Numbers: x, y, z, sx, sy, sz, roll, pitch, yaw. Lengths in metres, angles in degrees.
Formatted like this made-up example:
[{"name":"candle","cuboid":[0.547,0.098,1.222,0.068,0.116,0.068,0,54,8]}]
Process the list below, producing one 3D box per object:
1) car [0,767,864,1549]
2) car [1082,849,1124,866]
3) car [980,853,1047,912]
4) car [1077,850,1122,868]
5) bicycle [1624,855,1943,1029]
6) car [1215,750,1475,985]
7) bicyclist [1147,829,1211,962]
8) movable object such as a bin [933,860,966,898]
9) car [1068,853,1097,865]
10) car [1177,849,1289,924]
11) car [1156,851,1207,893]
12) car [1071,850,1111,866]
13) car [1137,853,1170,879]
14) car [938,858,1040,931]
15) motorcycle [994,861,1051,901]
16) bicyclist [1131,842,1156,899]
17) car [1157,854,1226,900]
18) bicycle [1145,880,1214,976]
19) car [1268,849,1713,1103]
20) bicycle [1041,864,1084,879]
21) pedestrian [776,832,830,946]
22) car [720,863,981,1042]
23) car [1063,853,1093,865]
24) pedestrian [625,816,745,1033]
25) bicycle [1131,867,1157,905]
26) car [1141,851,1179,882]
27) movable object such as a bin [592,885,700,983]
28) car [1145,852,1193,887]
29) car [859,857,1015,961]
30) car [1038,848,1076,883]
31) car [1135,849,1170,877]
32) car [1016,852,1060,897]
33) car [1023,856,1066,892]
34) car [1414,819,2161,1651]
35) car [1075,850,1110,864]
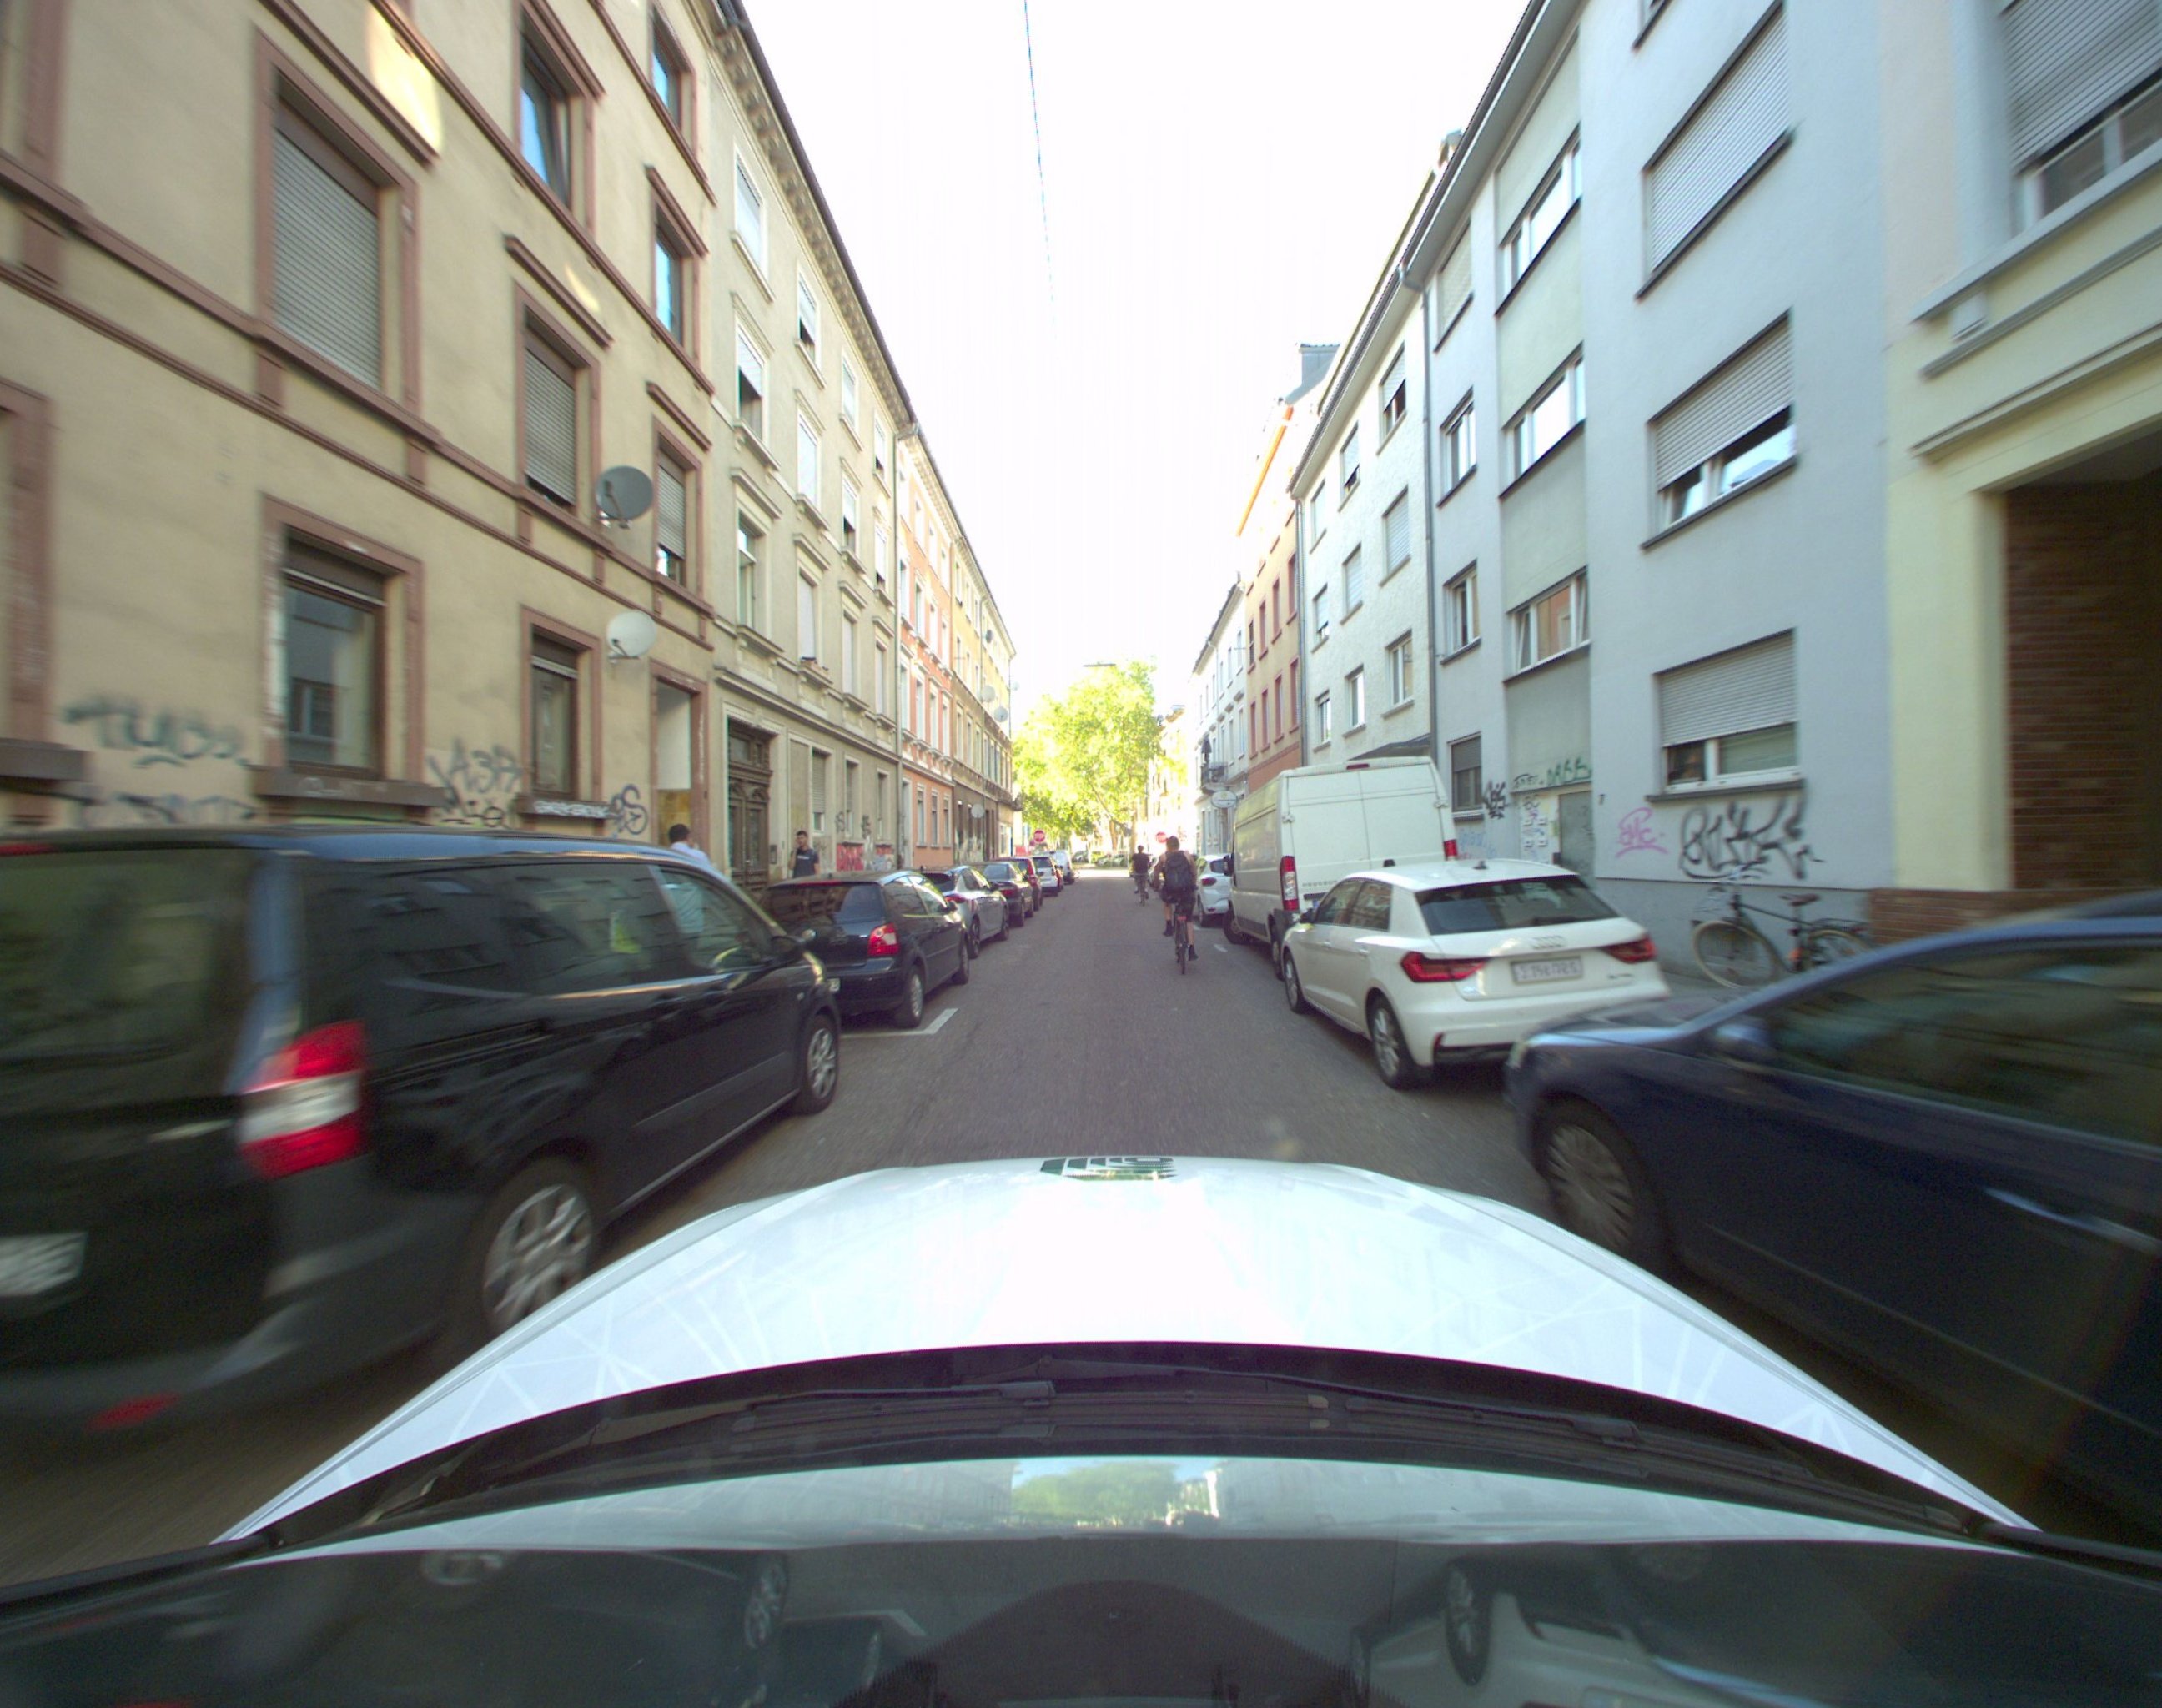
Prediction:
[{"name":"car","cuboid":[-2.545,0.712,3.824,1.794,1.698,4.001,-4,0,1]},{"name":"car","cuboid":[2.356,0.400,88.042,4.459,1.696,1.864,-2,0,-3]},{"name":"car","cuboid":[-1.898,0.775,23.796,1.600,1.530,3.378,-3,0,0]},{"name":"car","cuboid":[1.831,0.498,82.661,4.459,1.759,1.864,-2,0,-3]},{"name":"bicycle","cuboid":[5.671,0.614,6.841,0.625,1.158,2.353,-5,0,2]},{"name":"car","cuboid":[3.427,0.149,12.090,2.195,2.550,6.042,-2,0,4]},{"name":"bicyclist","cuboid":[1.289,0.522,10.892,0.737,1.679,1.117,0,0,1]},{"name":"movable object such as a bin","cuboid":[-4.267,0.797,26.470,0.831,1.126,0.716,-6,0,4]},{"name":"car","cuboid":[0.221,0.749,130.218,4.459,1.696,1.864,-2,0,-3]},{"name":"car","cuboid":[3.334,0.661,18.646,1.726,1.470,4.019,-2,0,-1]},{"name":"car","cuboid":[3.816,0.656,31.441,1.586,1.492,3.878,-2,0,2]},{"name":"car","cuboid":[1.136,0.409,94.406,4.459,1.696,1.864,-2,0,-3]},{"name":"car","cuboid":[4.361,0.686,49.580,1.681,1.471,3.574,-2,0,0]},{"name":"car","cuboid":[-1.986,0.838,18.835,1.700,1.414,4.304,-2,0,2]},{"name":"motorcycle","cuboid":[-1.981,0.888,27.424,1.797,1.256,0.707,-2,0,-13]},{"name":"bicyclist","cuboid":[1.861,0.490,24.456,0.667,1.658,0.877,-2,0,1]},{"name":"car","cuboid":[3.493,0.683,26.353,1.652,1.338,3.999,-2,0,0]},{"name":"bicycle","cuboid":[1.284,0.944,10.997,0.737,1.100,2.042,0,0,1]},{"name":"car","cuboid":[2.834,0.710,6.676,1.719,1.429,3.832,-2,0,0]},{"name":"bicycle","cuboid":[-1.197,1.144,52.873,2.708,0.892,0.618,-2,0,-2]},{"name":"pedestrian","cuboid":[-4.663,0.577,13.704,0.608,1.858,0.754,1,0,1]},{"name":"car","cuboid":[-2.202,0.862,8.798,1.585,1.440,3.656,-2,0,2]},{"name":"car","cuboid":[-0.422,0.773,123.489,4.459,1.696,1.864,-2,0,-3]},{"name":"pedestrian","cuboid":[-3.488,0.592,7.234,0.648,1.817,0.754,1,0,2]},{"name":"bicycle","cuboid":[1.883,0.948,24.503,0.661,1.037,1.959,-2,0,2]},{"name":"car","cuboid":[4.233,0.642,44.005,1.647,1.530,3.574,-2,0,0]},{"name":"movable object such as a bin","cuboid":[-5.084,0.914,9.563,0.786,1.025,0.757,3,0,3]},{"name":"car","cuboid":[3.945,0.666,36.899,1.705,1.470,3.999,-2,0,0]},{"name":"car","cuboid":[-2.253,0.806,13.778,1.666,1.430,3.892,-2,0,4]},{"name":"car","cuboid":[-1.238,0.584,43.372,1.781,1.737,3.877,-2,0,1]},{"name":"car","cuboid":[4.789,0.584,54.873,1.887,1.769,3.999,-2,0,-1]},{"name":"car","cuboid":[-1.606,0.742,31.170,1.540,1.550,3.463,-2,0,-1]},{"name":"car","cuboid":[-1.530,0.804,34.935,1.547,1.399,3.668,-2,0,1]},{"name":"car","cuboid":[2.858,0.696,1.798,1.810,1.478,4.596,-4,1,-8]},{"name":"car","cuboid":[1.512,0.337,107.651,4.459,1.696,1.864,-2,0,-3]}]
